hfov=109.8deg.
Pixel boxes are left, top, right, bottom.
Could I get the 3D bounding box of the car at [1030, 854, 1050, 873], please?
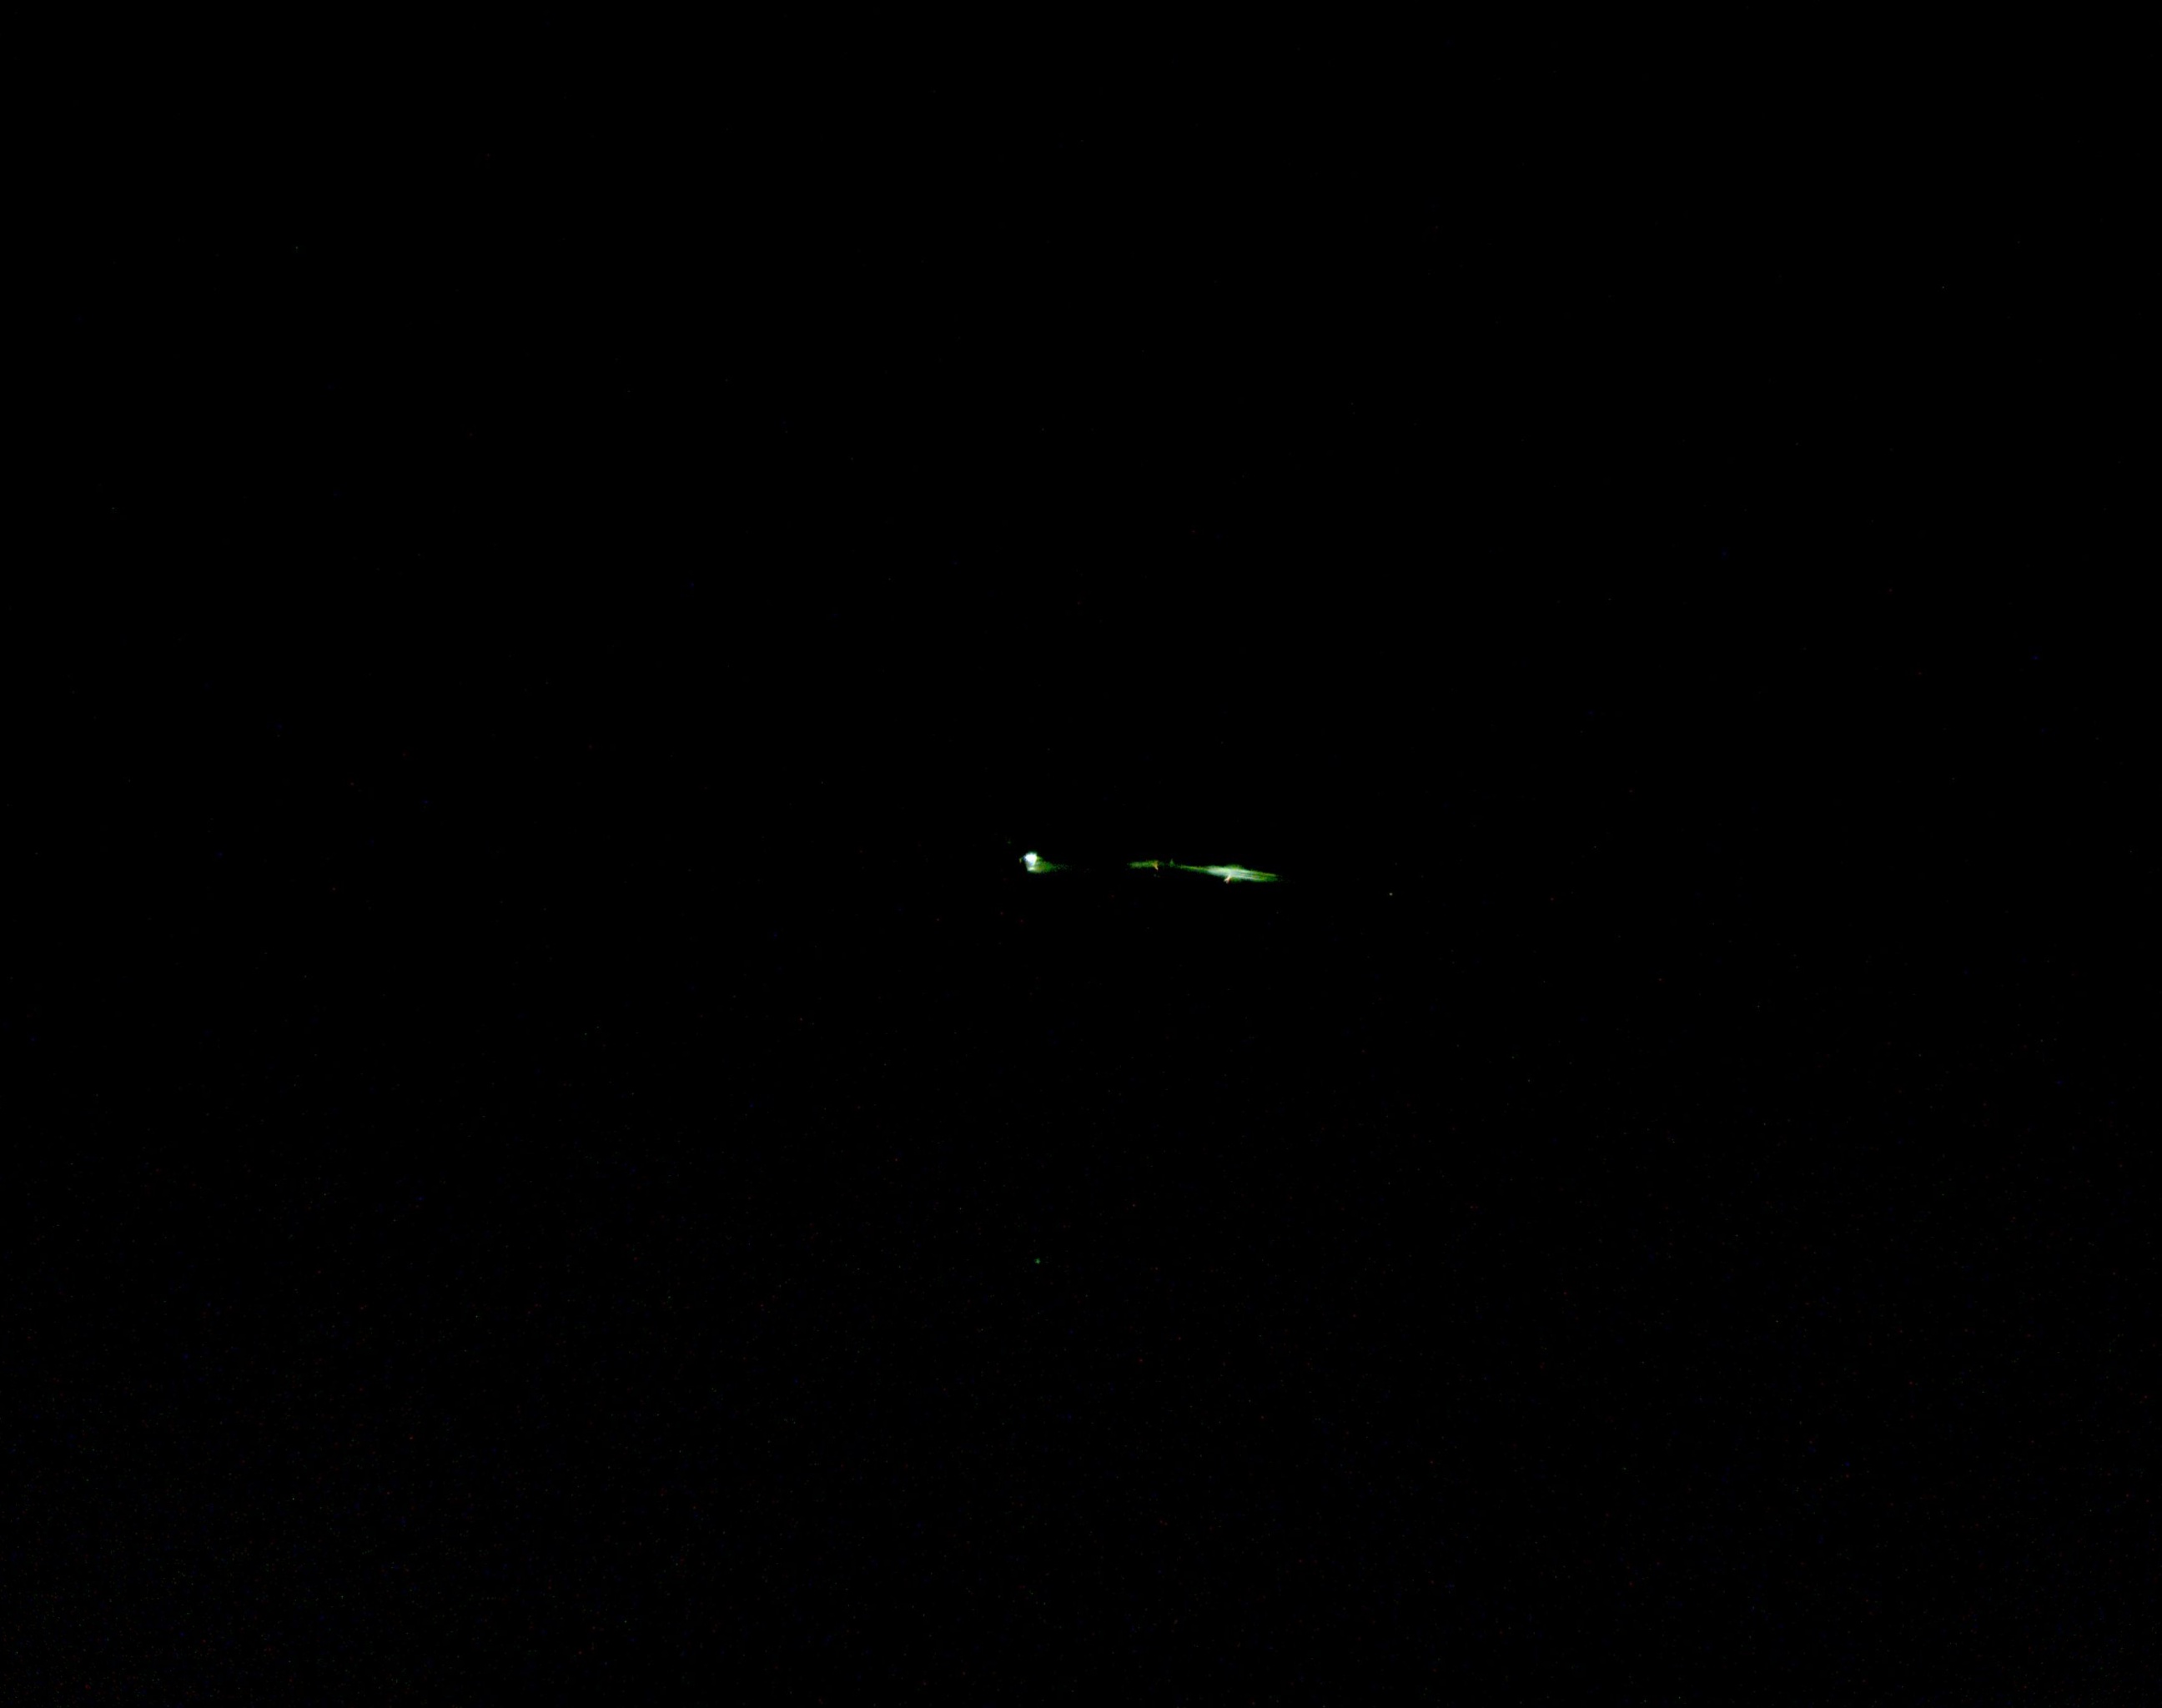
[{"bbox_3d":[-4.865,1.131,90.653,1.998,2.003,3.998,-2,3,2],"label":"car"}]
